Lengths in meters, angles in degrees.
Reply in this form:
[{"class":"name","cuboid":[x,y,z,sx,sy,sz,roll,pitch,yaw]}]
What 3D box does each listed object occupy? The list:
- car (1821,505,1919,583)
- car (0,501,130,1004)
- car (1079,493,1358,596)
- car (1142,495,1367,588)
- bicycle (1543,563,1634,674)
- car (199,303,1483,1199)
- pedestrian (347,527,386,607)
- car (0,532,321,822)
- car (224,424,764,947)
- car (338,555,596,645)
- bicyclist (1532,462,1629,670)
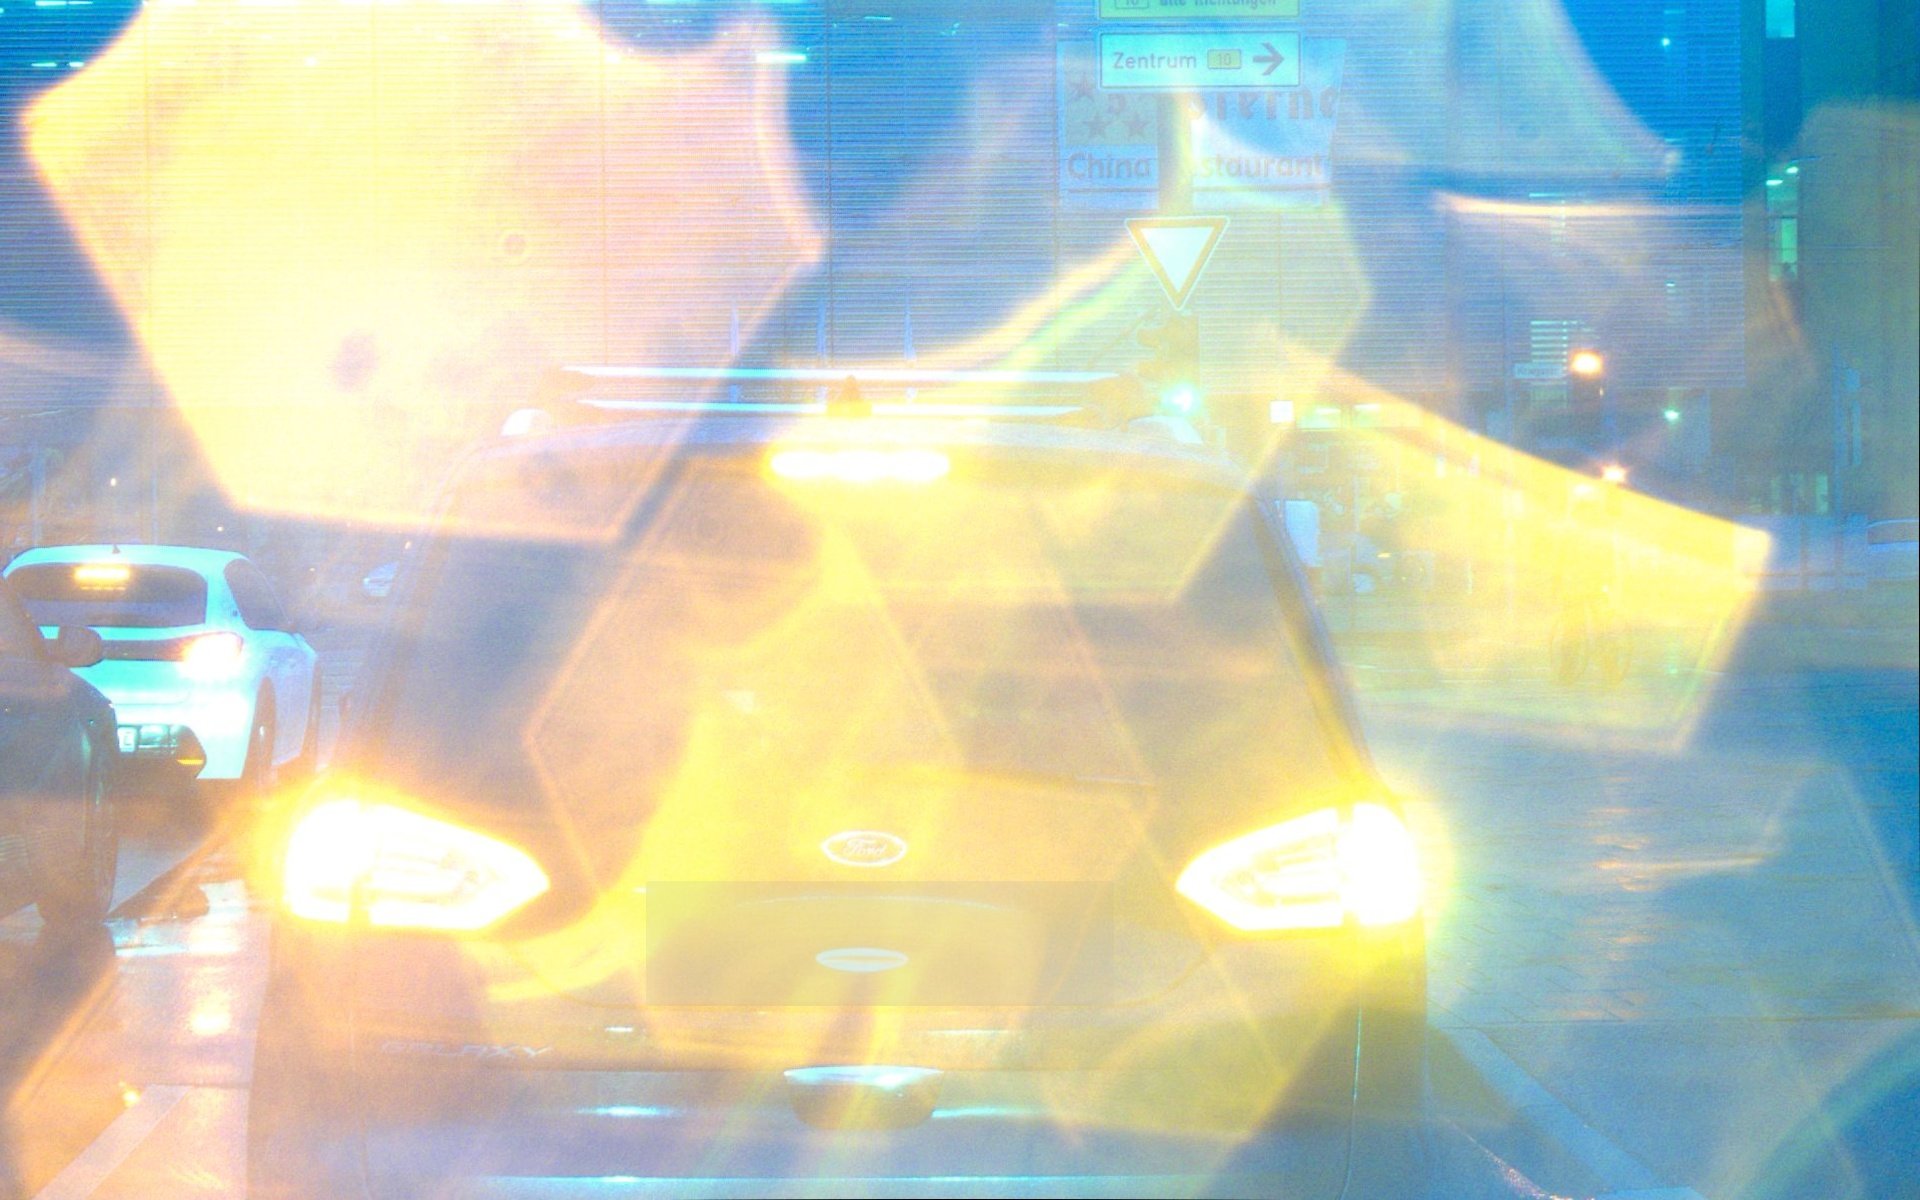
[{"class":"car","cuboid":[19.226,-1.117,67.052,4.326,1.481,1.867,-1,1,-6]},{"class":"car","cuboid":[-4.019,0.465,11.621,1.820,1.564,4.363,-1,1,-7]},{"class":"car","cuboid":[4.859,-1.055,64.968,4.945,1.865,1.906,-1,1,-9]},{"class":"car","cuboid":[6.097,-1.229,71.498,4.358,1.865,1.905,-1,1,-6]},{"class":"bicycle","cuboid":[5.803,0.161,31.821,0.655,0.970,1.866,-1,1,5]},{"class":"car","cuboid":[-0.199,0.473,6.557,1.674,1.773,4.000,1,1,-1]},{"class":"pedestrian","cuboid":[-13.384,-0.750,77.589,0.787,1.781,0.733,-1,1,-5]},{"class":"car","cuboid":[-4.627,0.349,19.246,1.758,1.458,3.918,0,1,-6]},{"class":"car","cuboid":[-1.813,0.240,14.185,1.843,1.800,4.488,-1,1,-5]},{"class":"car","cuboid":[-8.113,-0.032,56.961,1.643,1.381,4.467,0,1,34]},{"class":"bicyclist","cuboid":[5.725,-0.317,31.753,0.791,1.884,0.989,-1,1,5]}]
